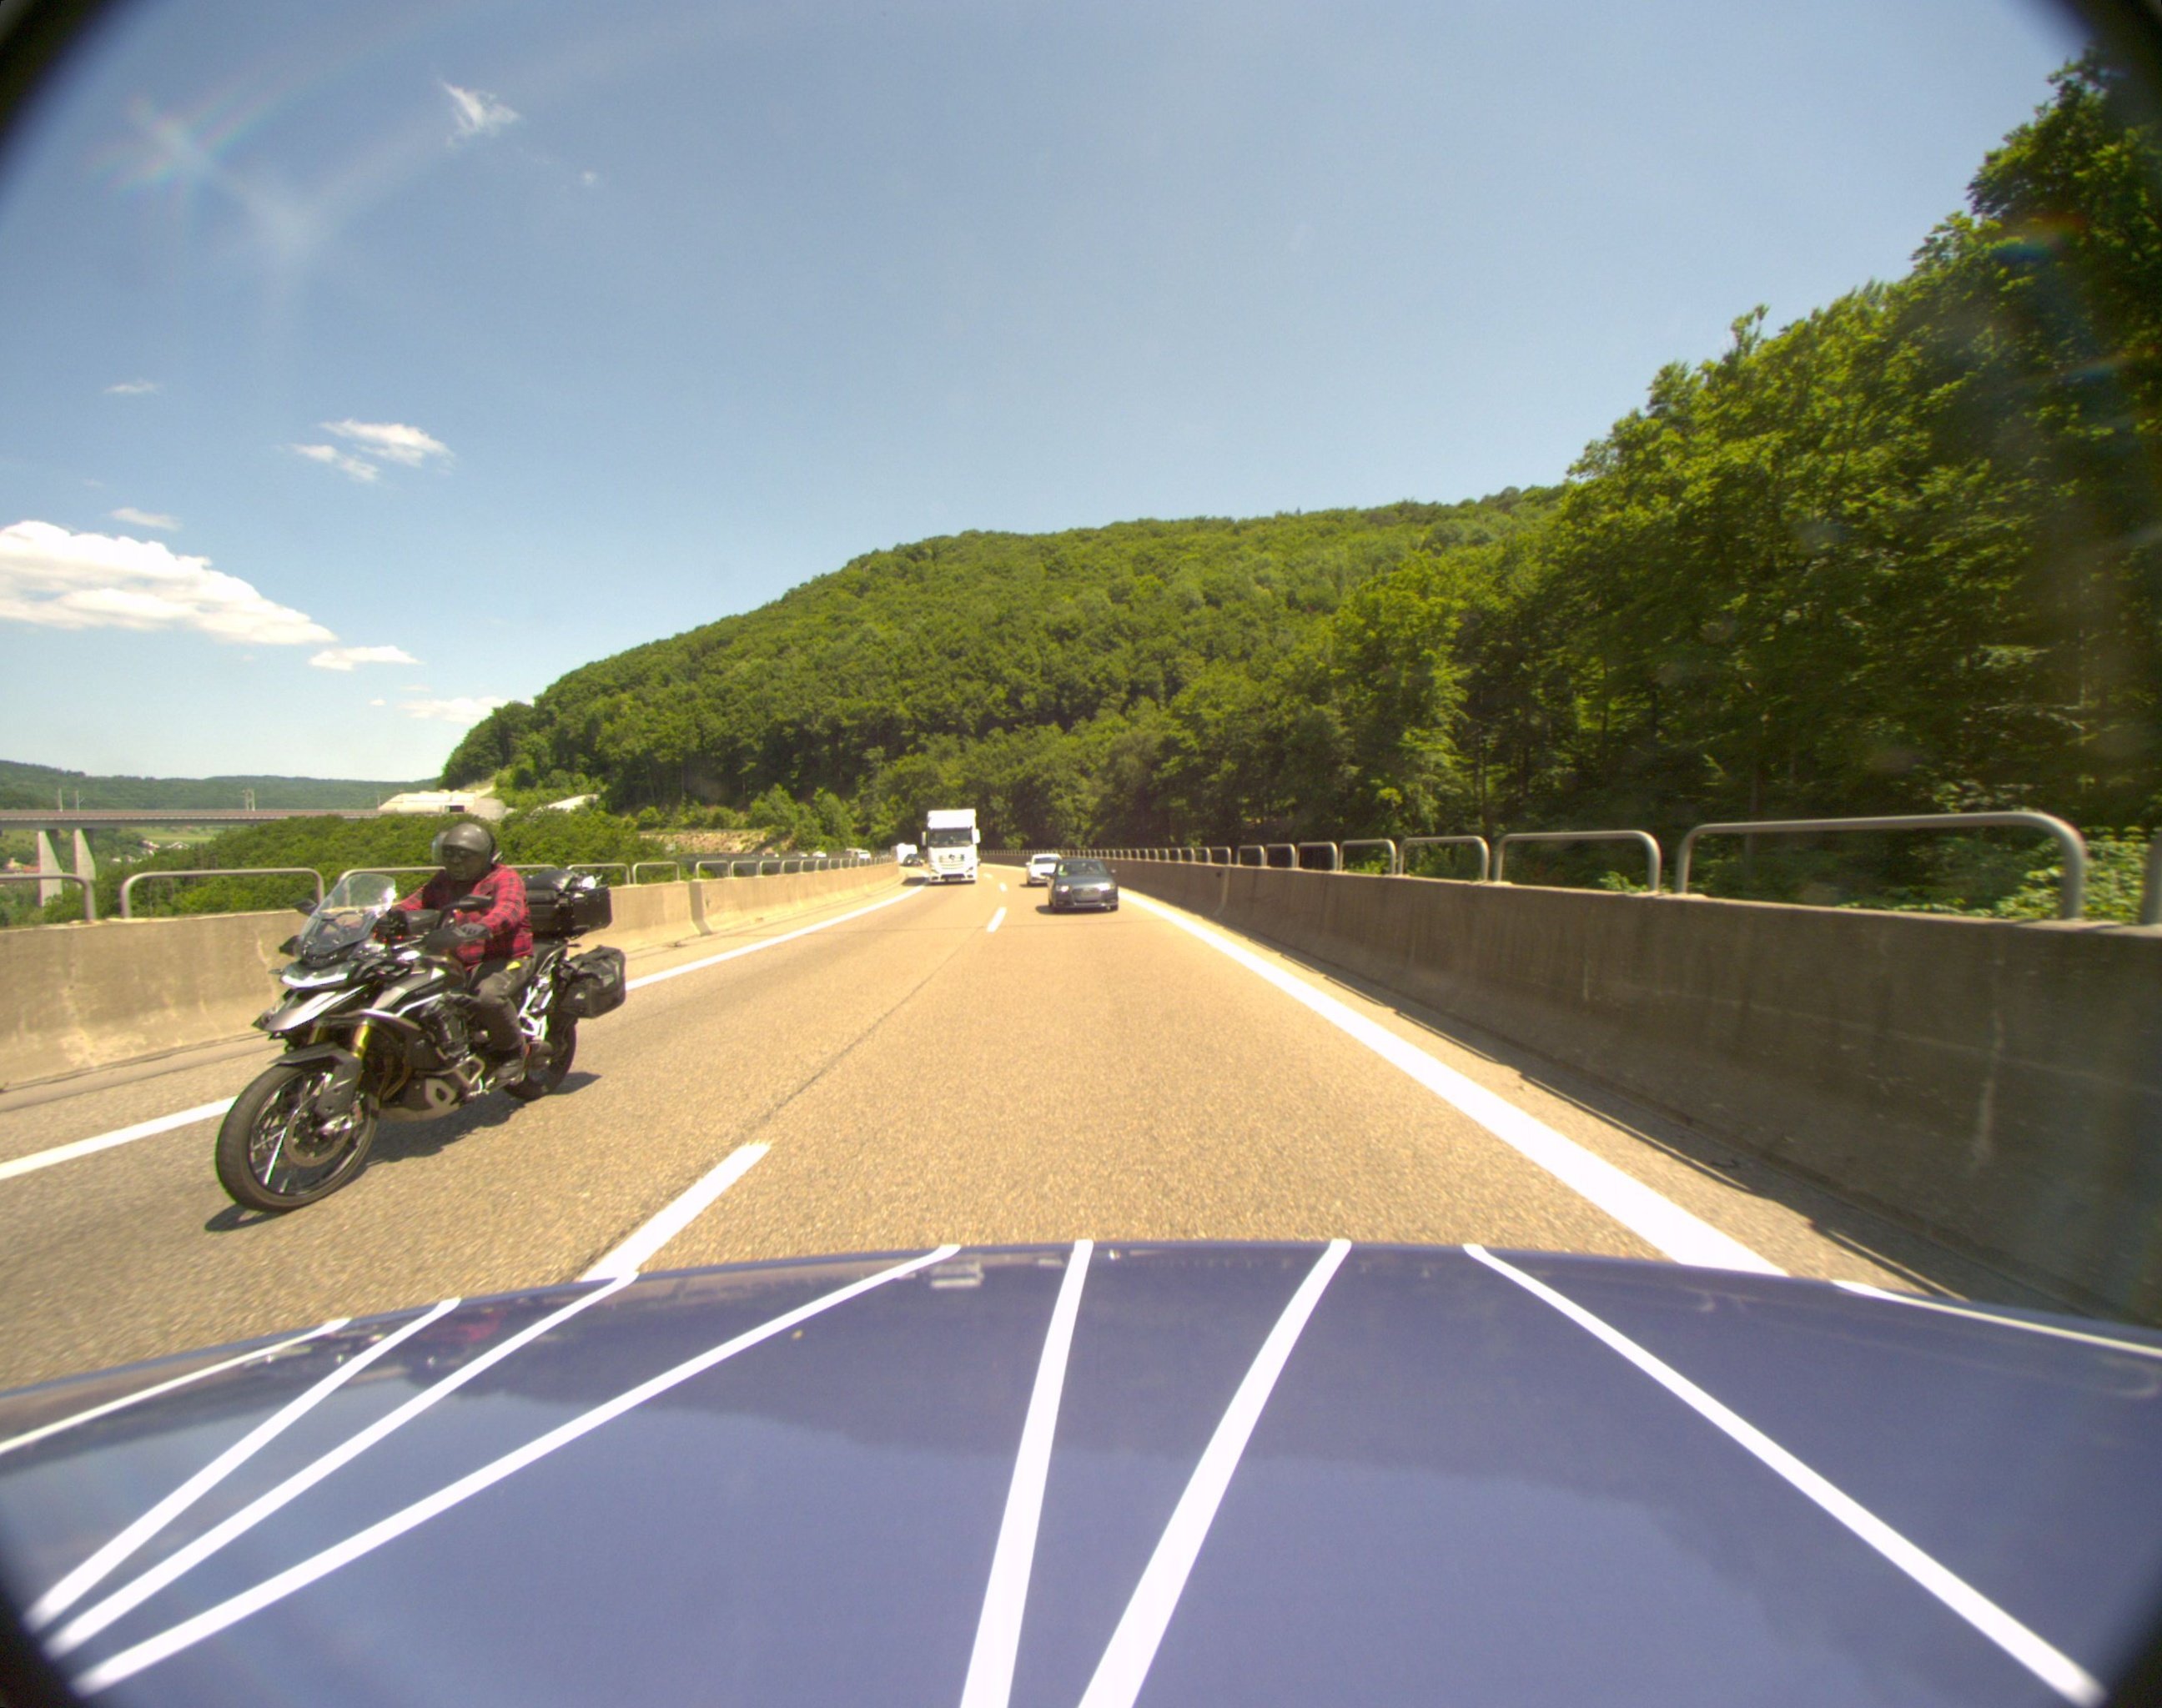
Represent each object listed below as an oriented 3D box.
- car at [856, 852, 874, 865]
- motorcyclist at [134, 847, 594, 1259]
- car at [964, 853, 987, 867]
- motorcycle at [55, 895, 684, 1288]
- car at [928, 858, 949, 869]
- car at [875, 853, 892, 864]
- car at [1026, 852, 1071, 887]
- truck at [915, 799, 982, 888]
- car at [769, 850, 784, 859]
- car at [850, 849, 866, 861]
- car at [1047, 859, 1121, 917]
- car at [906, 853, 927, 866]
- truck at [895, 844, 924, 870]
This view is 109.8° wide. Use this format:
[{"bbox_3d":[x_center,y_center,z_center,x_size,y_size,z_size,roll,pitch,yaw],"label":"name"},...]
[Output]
[{"bbox_3d":[-35.374,0.679,124.276,2.003,2.002,3.991,-1,0,-28],"label":"car"},{"bbox_3d":[-3.562,0.875,3.985,1.063,1.790,1.338,-1,1,3],"label":"motorcyclist"},{"bbox_3d":[-11.509,0.619,82.672,1.758,1.480,3.976,-1,0,-18],"label":"car"},{"bbox_3d":[-3.563,1.034,4.391,0.975,1.411,2.681,-1,0,3],"label":"motorcycle"},{"bbox_3d":[-19.490,1.266,103.785,2.002,1.444,3.993,-1,0,-21],"label":"car"},{"bbox_3d":[-34.075,0.736,131.303,2.003,1.783,3.991,-1,0,-27],"label":"car"},{"bbox_3d":[-1.594,0.690,35.793,1.756,1.460,3.979,-3,1,-7],"label":"car"},{"bbox_3d":[-7.279,-0.510,43.881,2.971,4.108,16.695,-2,0,-8],"label":"truck"},{"bbox_3d":[-71.918,0.070,179.379,2.004,2.002,3.989,-2,1,-45],"label":"car"},{"bbox_3d":[-38.201,0.212,129.901,2.003,2.002,3.991,-1,0,-26],"label":"car"},{"bbox_3d":[-0.016,0.839,20.730,1.756,1.350,4.121,-1,0,-3],"label":"car"},{"bbox_3d":[-19.850,0.677,91.507,1.758,1.480,3.975,-2,0,-22],"label":"car"},{"bbox_3d":[-21.821,0.408,96.547,2.621,3.084,6.843,-2,0,-20],"label":"truck"}]
